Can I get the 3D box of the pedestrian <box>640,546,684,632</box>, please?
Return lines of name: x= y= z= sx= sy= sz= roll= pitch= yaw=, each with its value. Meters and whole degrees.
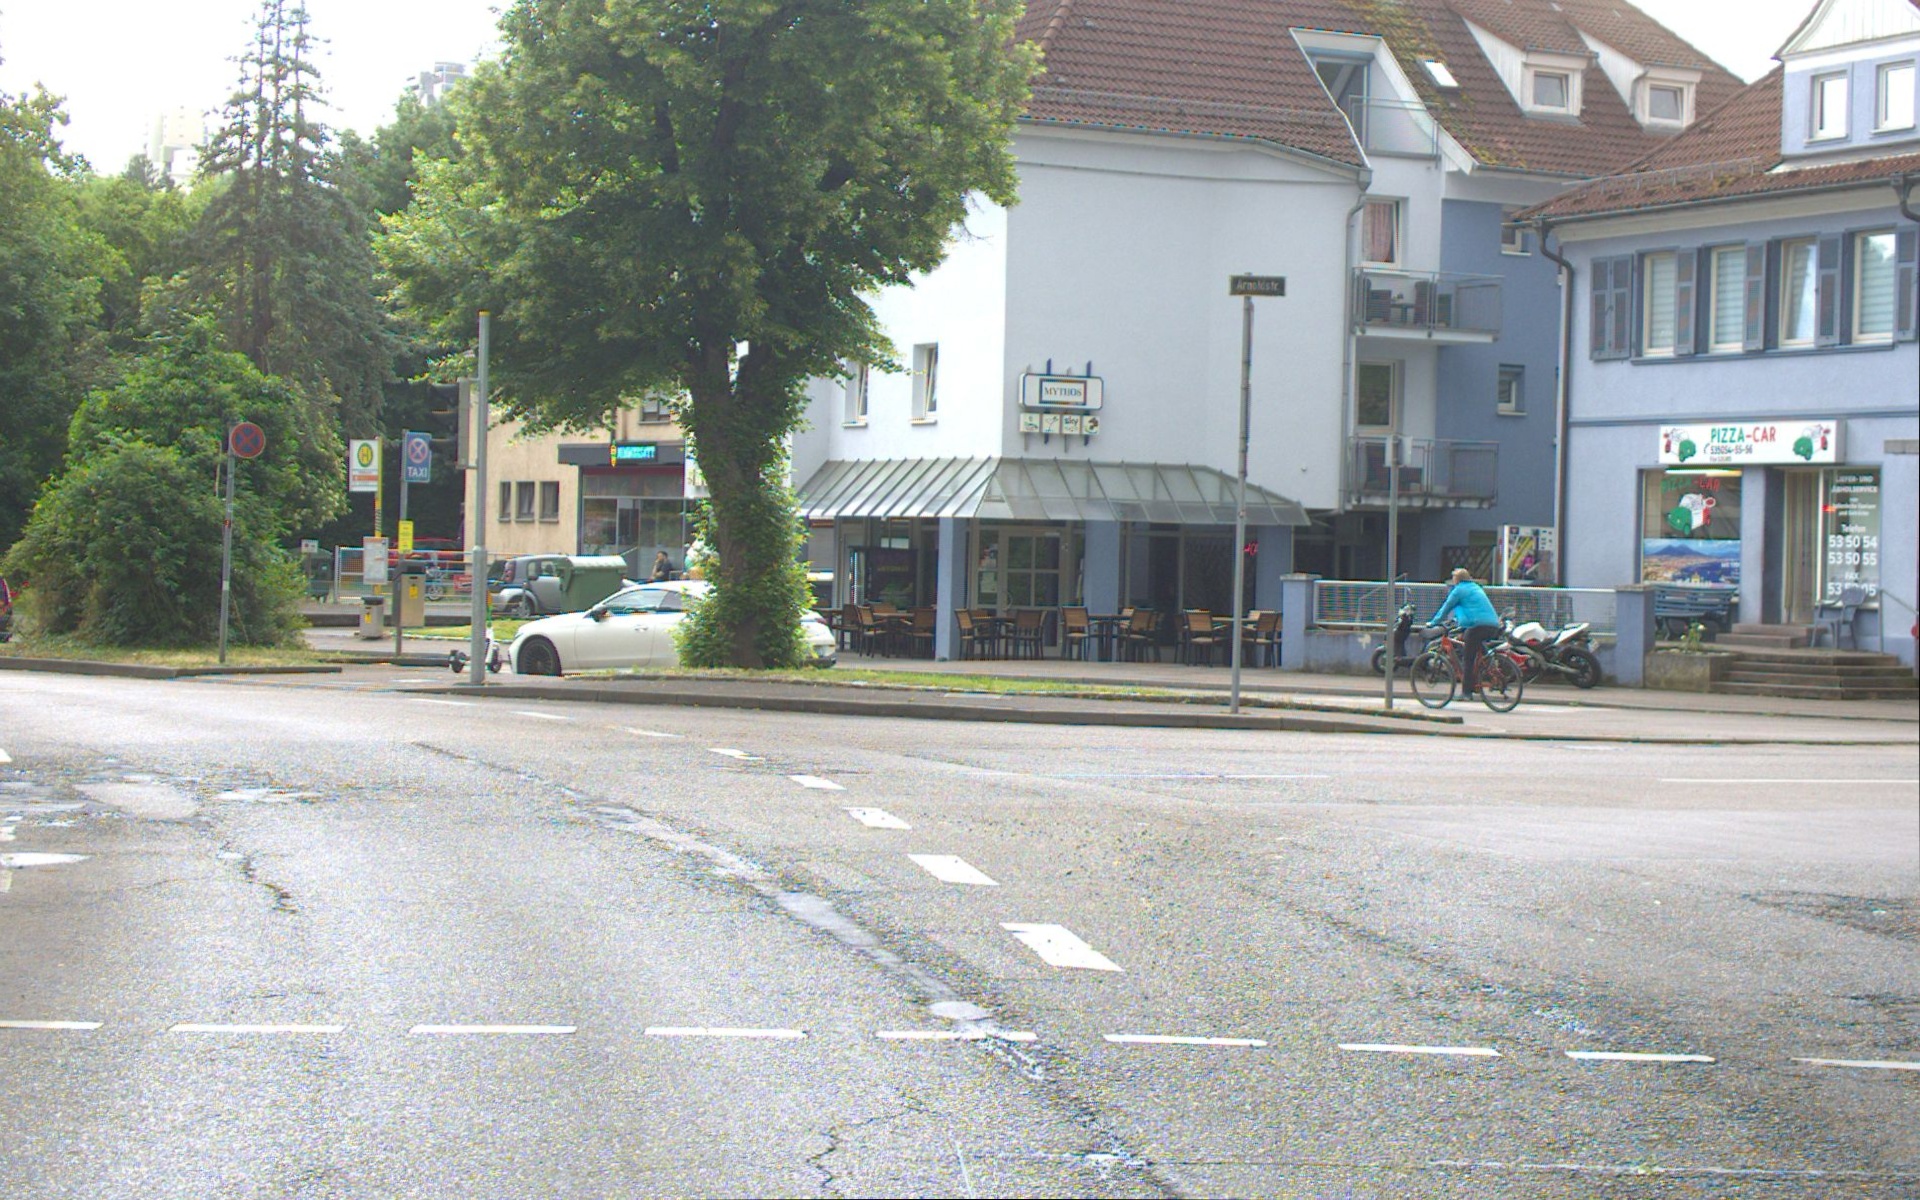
pedestrian: x=-7.012 y=-0.263 z=80.931 sx=0.837 sy=2.007 sz=1.056 roll=1 pitch=1 yaw=-14

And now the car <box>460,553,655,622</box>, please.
car: x=-8.858 y=-0.272 z=75.628 sx=3.936 sy=1.437 sz=1.753 roll=1 pitch=1 yaw=-20

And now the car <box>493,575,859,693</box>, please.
car: x=-3.807 y=0.420 z=45.759 sx=4.709 sy=1.405 sz=1.898 roll=2 pitch=1 yaw=35

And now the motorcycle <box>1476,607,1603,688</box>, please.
motorcycle: x=8.147 y=0.662 z=48.362 sx=1.628 sy=1.085 sz=0.626 roll=1 pitch=1 yaw=32

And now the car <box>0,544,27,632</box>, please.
car: x=-16.422 y=-0.218 z=53.519 sx=3.322 sy=1.347 sz=1.778 roll=1 pitch=1 yaw=27

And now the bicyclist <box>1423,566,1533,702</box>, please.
bicyclist: x=6.450 y=0.415 z=42.774 sx=0.988 sy=1.646 sz=0.916 roll=2 pitch=1 yaw=42

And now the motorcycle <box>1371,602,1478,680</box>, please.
motorcycle: x=6.771 y=0.590 z=50.131 sx=1.458 sy=1.085 sz=0.523 roll=1 pitch=1 yaw=35

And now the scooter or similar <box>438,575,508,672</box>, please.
scooter or similar: x=-6.032 y=0.282 z=42.614 sx=0.442 sy=1.171 sz=1.437 roll=1 pitch=1 yaw=9

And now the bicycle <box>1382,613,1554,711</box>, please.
bicycle: x=6.328 y=0.755 z=42.880 sx=1.951 sy=1.145 sz=0.874 roll=2 pitch=1 yaw=42

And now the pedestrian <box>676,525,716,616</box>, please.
pedestrian: x=-4.547 y=-0.501 z=59.229 sx=0.543 sy=1.554 sz=0.467 roll=0 pitch=0 yaw=13
